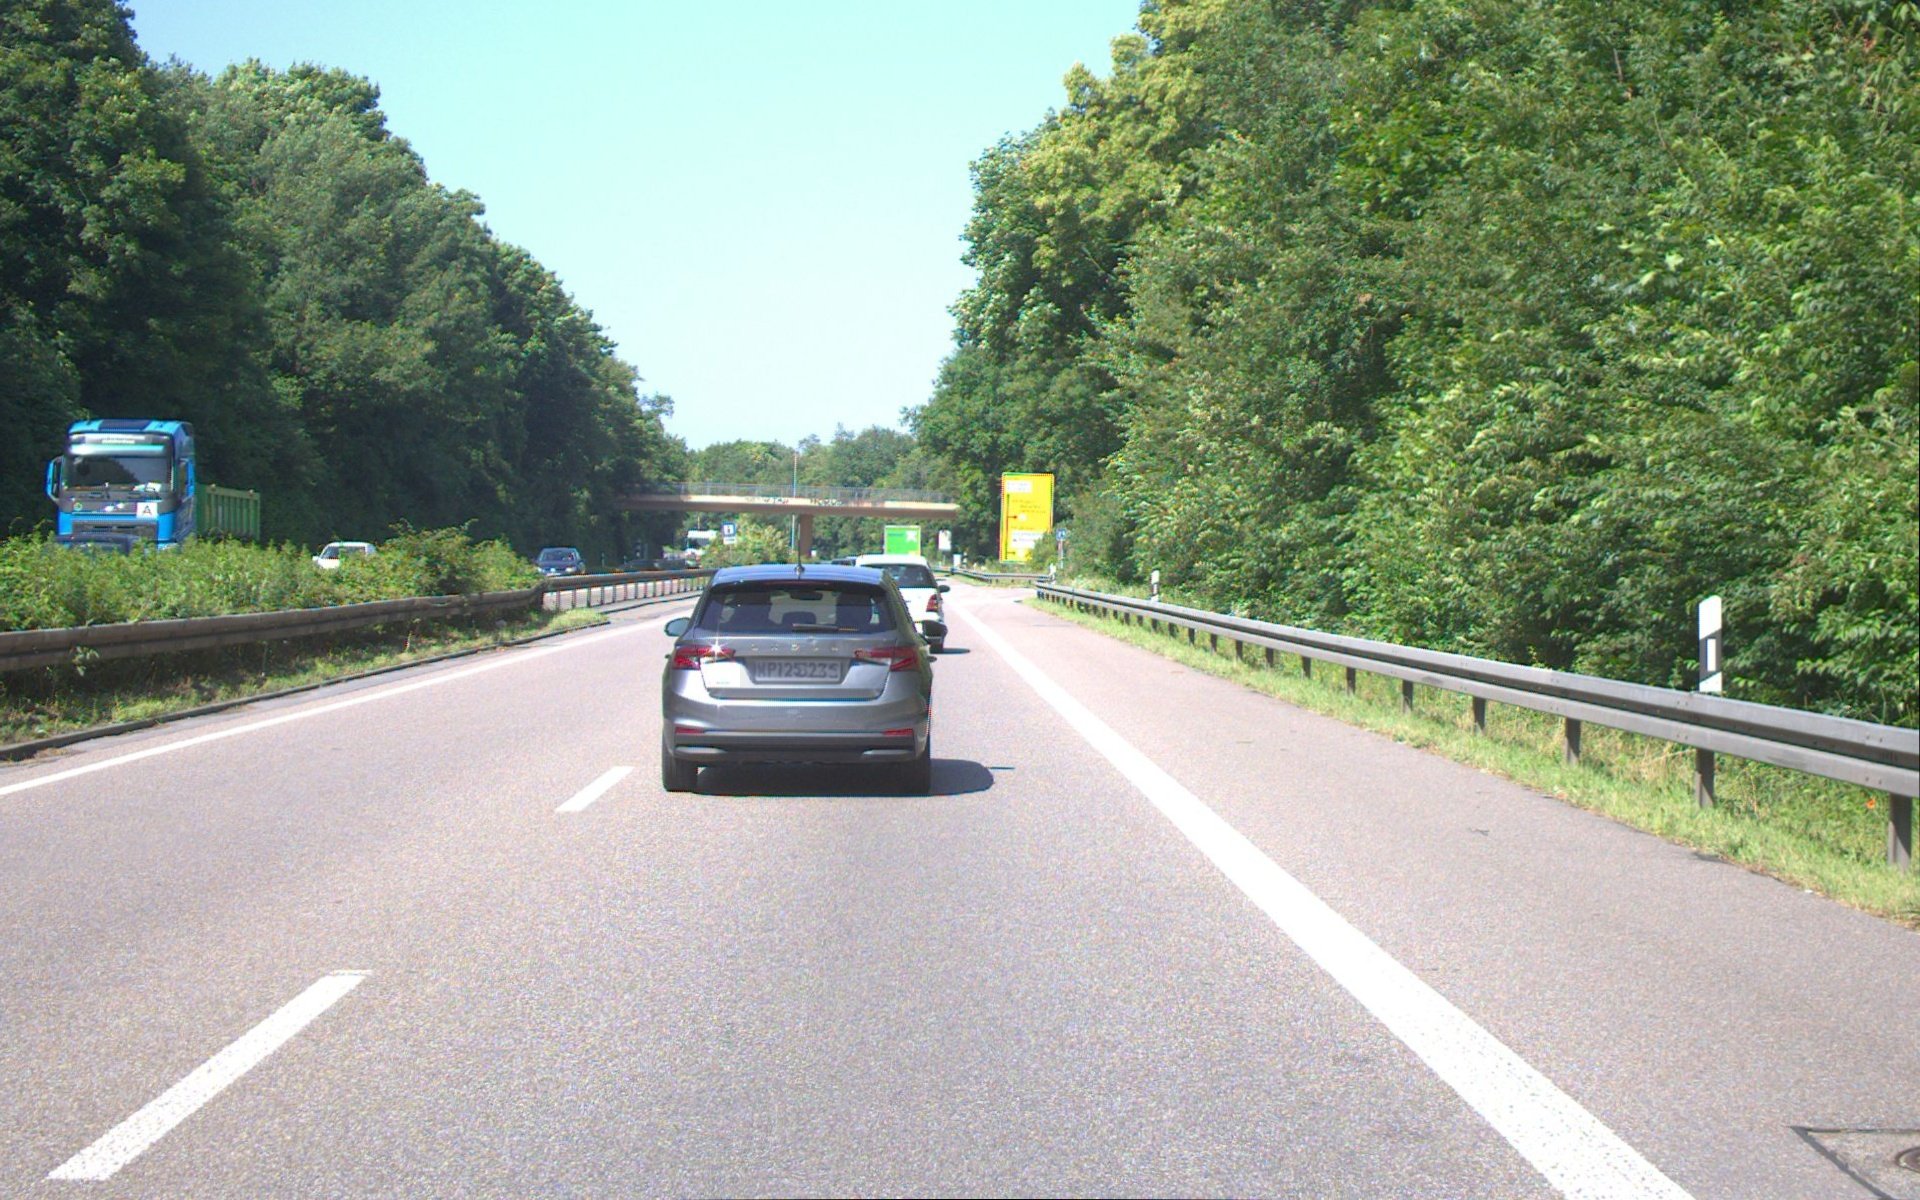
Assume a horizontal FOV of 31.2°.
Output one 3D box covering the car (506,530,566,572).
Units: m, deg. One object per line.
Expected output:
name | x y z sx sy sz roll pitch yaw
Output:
car | -15.543 -1.794 126.073 1.672 1.468 3.623 1 1 1

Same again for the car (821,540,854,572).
car | -7.978 -2.843 223.789 1.993 2.007 4.000 1 1 -1

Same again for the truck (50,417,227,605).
truck | -16.761 -1.799 70.367 2.646 3.693 4.000 1 0 0

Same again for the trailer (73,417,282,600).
trailer | -16.741 -1.905 74.106 2.688 3.699 7.984 1 1 0

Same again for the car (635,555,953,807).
car | -1.007 0.465 22.575 1.840 1.467 3.623 1 1 1

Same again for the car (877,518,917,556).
car | -4.464 -4.453 243.007 2.748 2.645 4.000 1 1 -1

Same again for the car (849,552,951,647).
car | -0.941 -0.032 55.598 1.522 1.442 3.340 1 1 1
